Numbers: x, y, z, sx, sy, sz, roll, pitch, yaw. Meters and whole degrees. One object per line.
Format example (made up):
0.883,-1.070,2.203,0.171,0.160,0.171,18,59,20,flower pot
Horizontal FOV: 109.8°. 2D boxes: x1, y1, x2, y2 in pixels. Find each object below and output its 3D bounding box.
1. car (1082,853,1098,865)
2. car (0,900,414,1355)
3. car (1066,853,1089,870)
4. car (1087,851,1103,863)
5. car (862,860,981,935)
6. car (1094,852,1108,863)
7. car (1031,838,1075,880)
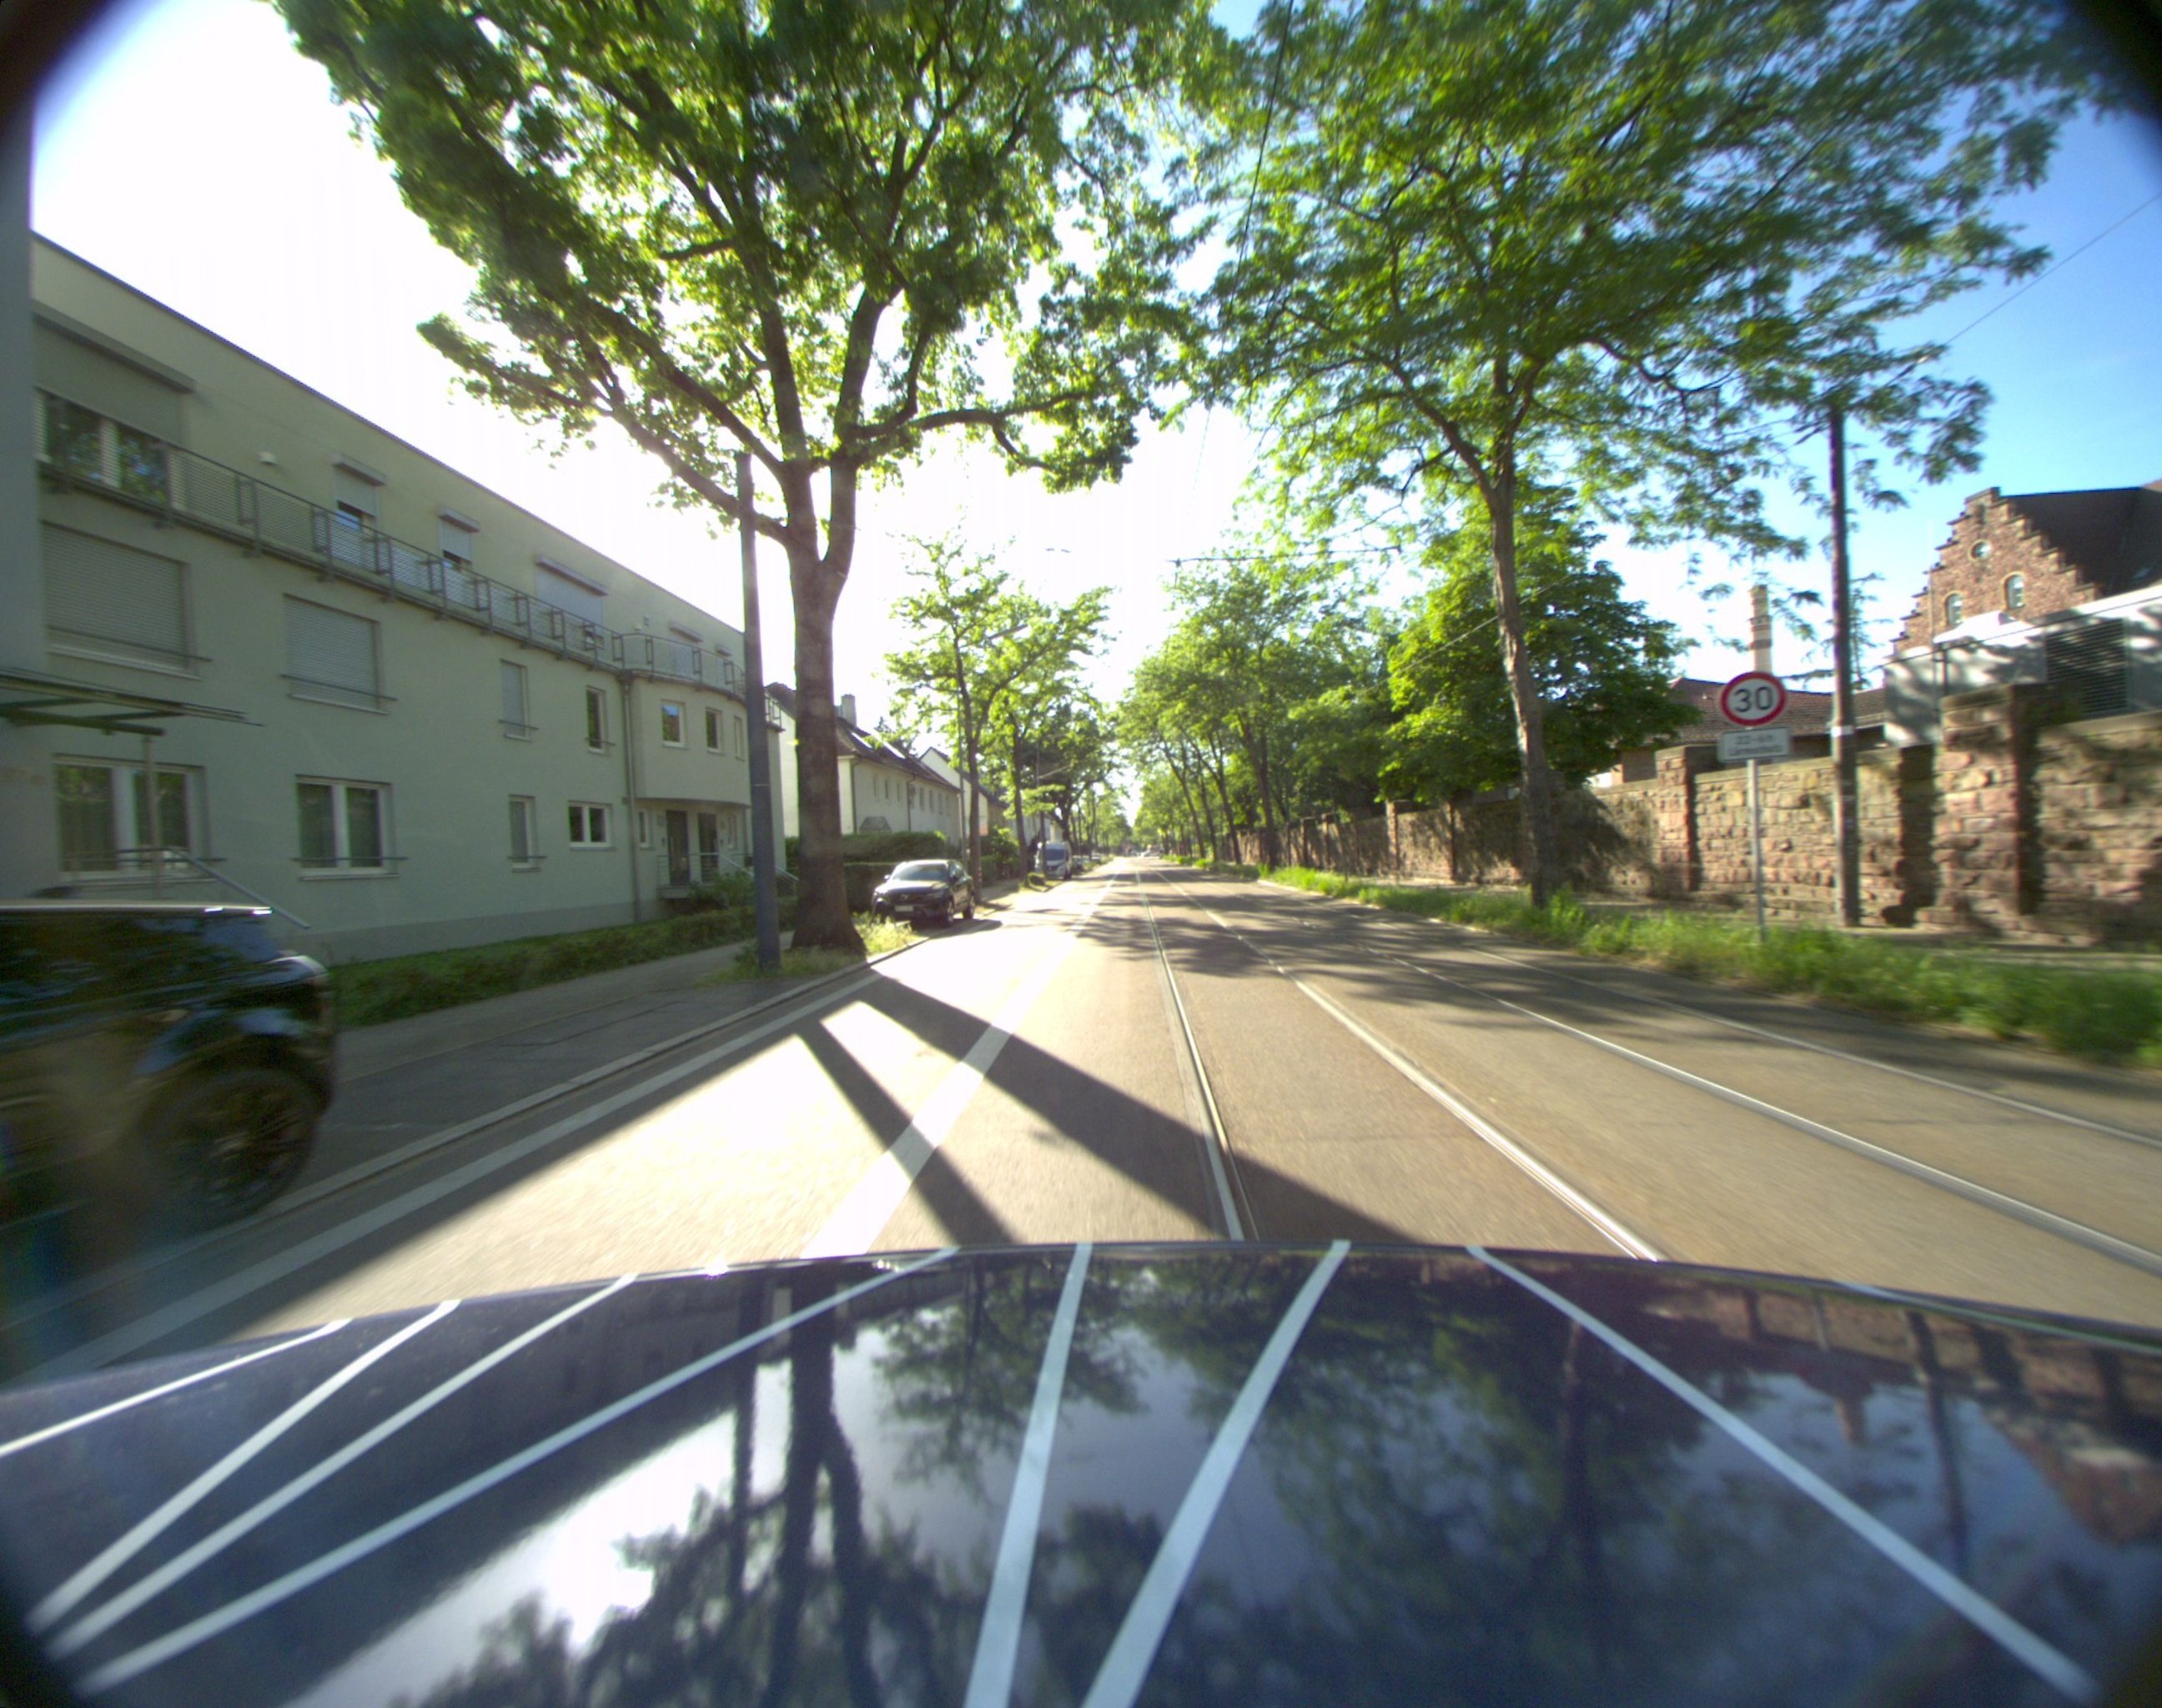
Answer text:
1.137,0.627,97.339,1.788,1.369,3.655,-3,1,4,car
-5.175,1.138,2.290,1.998,1.607,4.601,-2,1,5,car
-0.288,0.681,73.278,1.662,1.527,4.002,-2,0,8,car
1.990,0.411,106.713,1.998,1.474,4.001,-2,0,4,car
-3.958,1.018,19.710,1.880,1.509,4.649,-3,1,2,car
3.092,0.515,118.642,1.998,1.411,3.999,-2,3,4,car
-1.812,0.297,51.975,2.296,2.575,5.719,-3,1,4,car
